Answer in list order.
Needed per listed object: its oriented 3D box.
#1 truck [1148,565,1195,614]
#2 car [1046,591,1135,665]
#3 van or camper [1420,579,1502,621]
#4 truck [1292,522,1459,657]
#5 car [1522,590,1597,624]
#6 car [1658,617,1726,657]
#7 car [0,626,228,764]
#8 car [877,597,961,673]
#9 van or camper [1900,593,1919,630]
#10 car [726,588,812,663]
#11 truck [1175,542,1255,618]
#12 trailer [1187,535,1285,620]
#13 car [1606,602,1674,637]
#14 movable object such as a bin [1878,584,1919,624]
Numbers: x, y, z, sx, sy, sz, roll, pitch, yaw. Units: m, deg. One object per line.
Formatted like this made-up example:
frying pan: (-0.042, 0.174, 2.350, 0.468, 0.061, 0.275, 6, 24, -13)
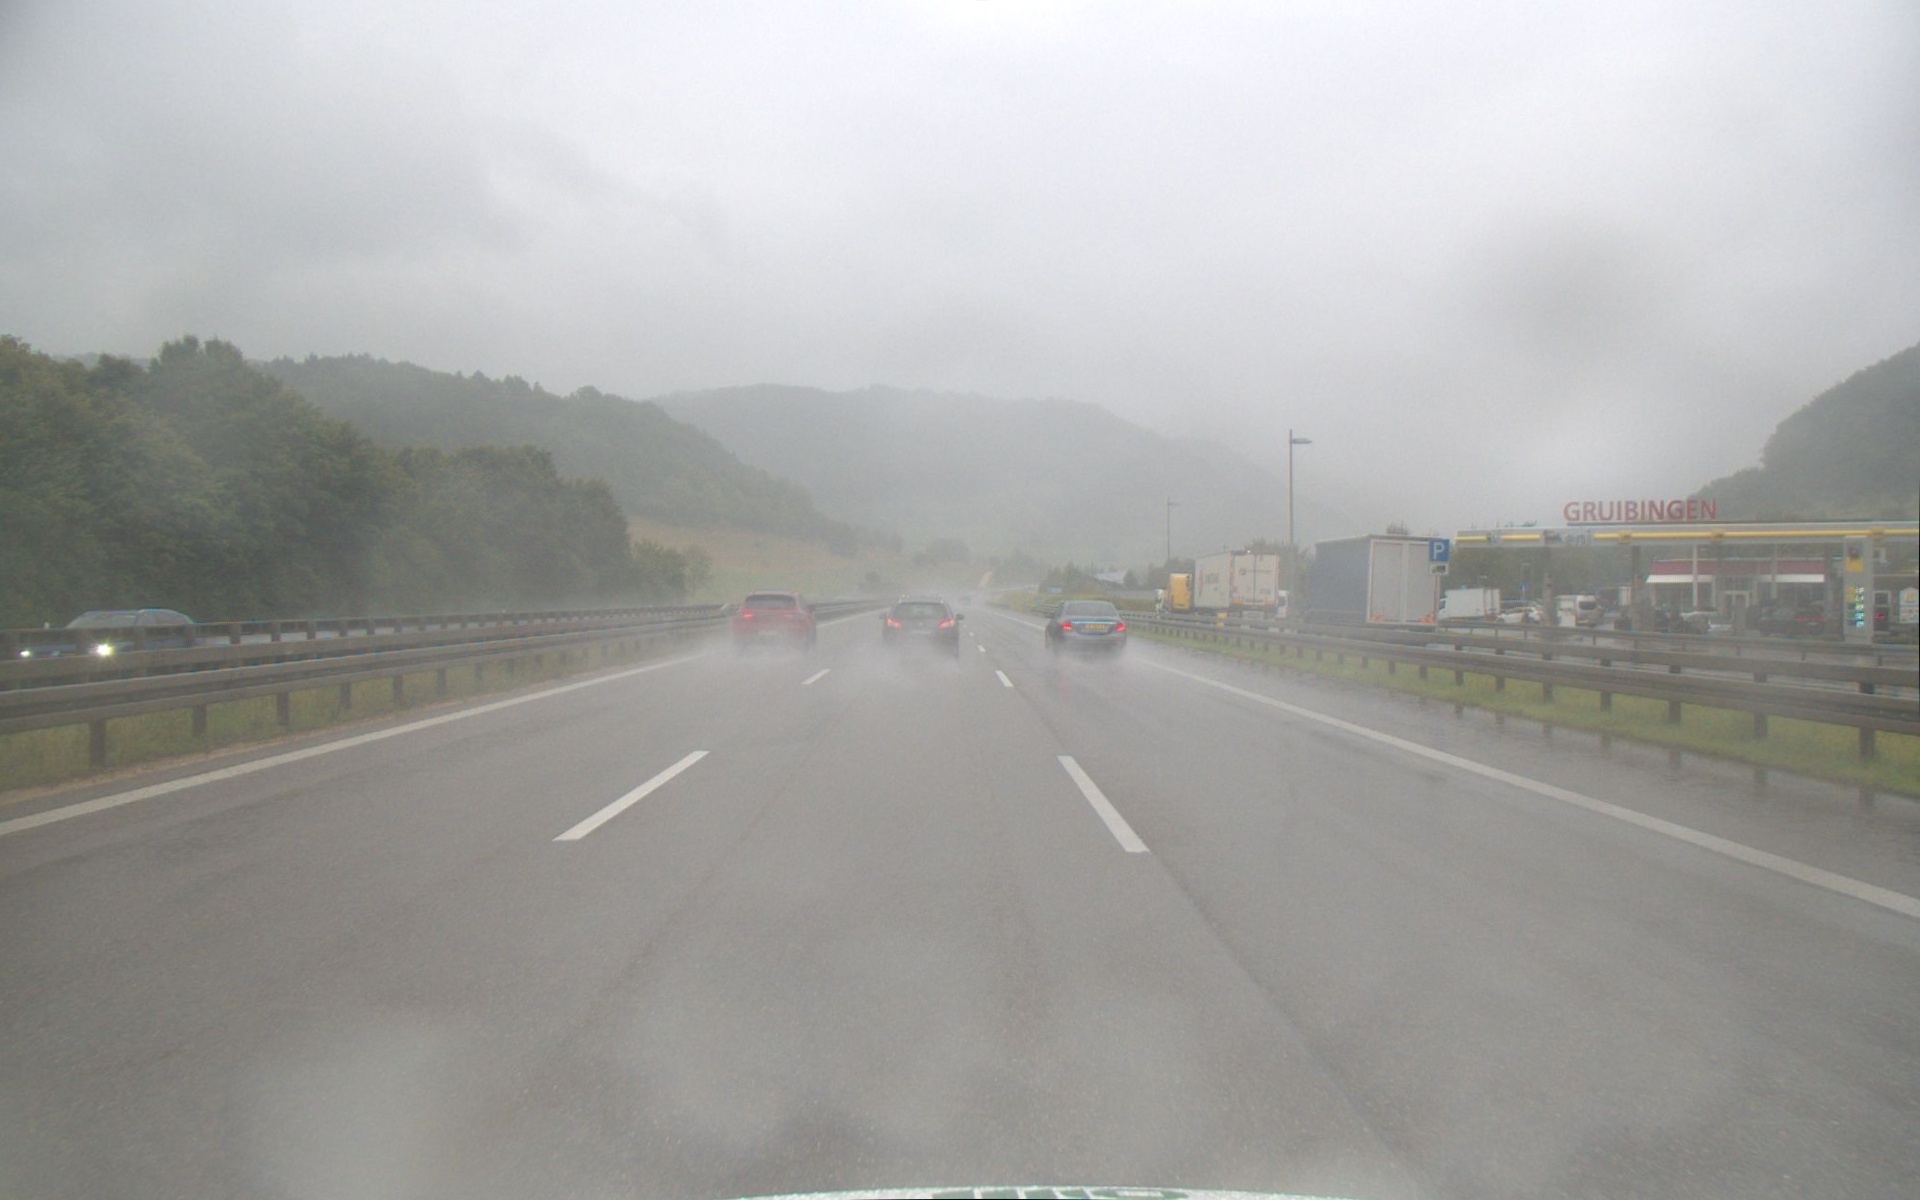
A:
truck: (14.549, -0.698, 114.378, 2.244, 3.202, 8.865, 1, 0, 1)
car: (3.278, 0.668, 42.295, 1.931, 1.791, 4.000, 0, 0, 0)
van or camper: (38.503, -0.005, 127.296, 1.976, 3.112, 6.098, 1, 0, -34)
truck: (15.226, -0.392, 61.712, 3.331, 4.479, 11.048, 2, 0, 0)
car: (43.064, 0.458, 118.864, 1.965, 2.349, 5.417, 1, 0, -22)
car: (40.647, 2.032, 91.916, 1.920, 2.049, 3.999, 1, 0, -1)
car: (-16.735, 1.704, 31.947, 2.574, 2.267, 5.996, 1, 0, -1)
car: (-0.902, 0.772, 38.193, 1.821, 1.617, 4.000, 1, 0, 0)
van or camper: (53.793, 0.670, 90.864, 1.953, 2.049, 3.999, 1, 0, -1)
car: (-4.888, 0.619, 42.783, 1.846, 1.847, 3.999, 0, 0, -1)
truck: (15.157, -1.116, 98.895, 3.455, 4.293, 7.815, 1, 0, -1)
trailer: (15.162, -1.152, 91.895, 3.444, 4.336, 11.920, 1, 0, 0)
car: (40.685, 1.145, 99.027, 1.953, 2.049, 4.900, 1, 0, -1)
movable object such as a bin: (53.789, 0.238, 92.207, 1.953, 2.227, 5.723, 1, 0, -1)
